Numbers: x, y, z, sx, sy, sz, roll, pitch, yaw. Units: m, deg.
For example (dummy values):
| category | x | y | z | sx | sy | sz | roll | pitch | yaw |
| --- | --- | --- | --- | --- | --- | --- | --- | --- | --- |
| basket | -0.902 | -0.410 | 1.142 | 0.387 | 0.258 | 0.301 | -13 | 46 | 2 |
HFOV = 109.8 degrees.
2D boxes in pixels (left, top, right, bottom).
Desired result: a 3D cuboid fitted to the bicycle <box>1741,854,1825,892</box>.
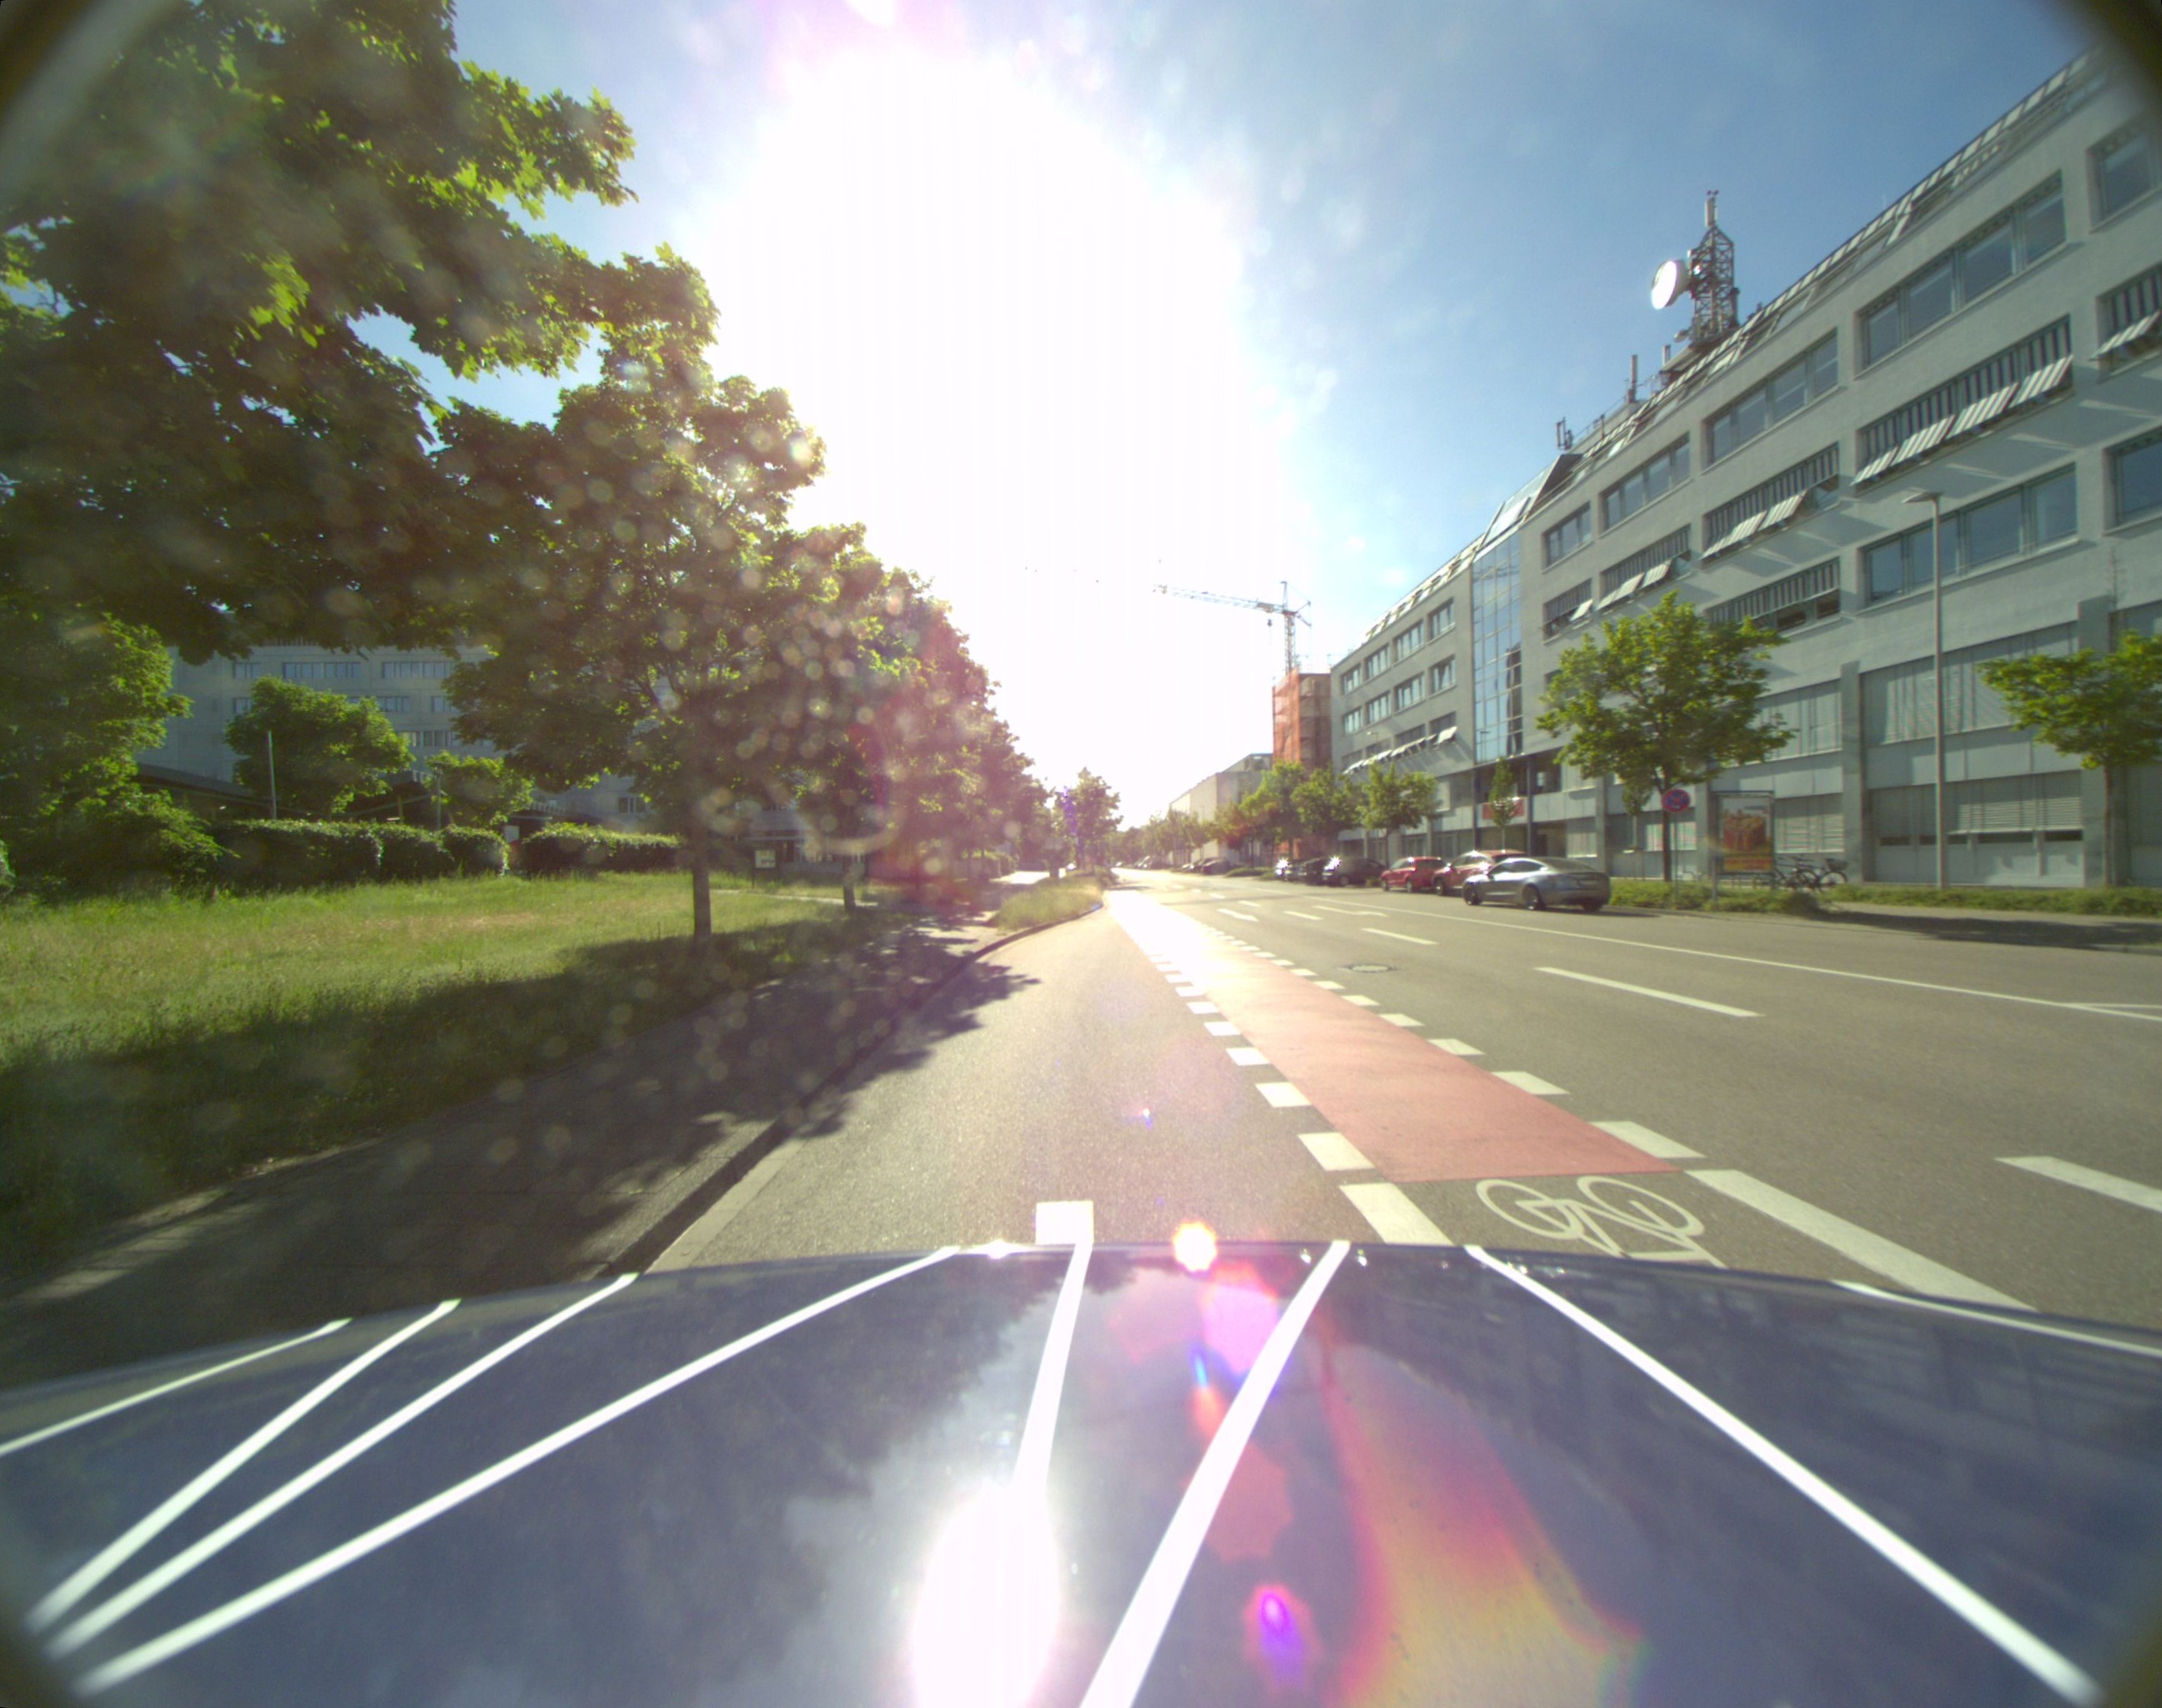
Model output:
| category | x | y | z | sx | sy | sz | roll | pitch | yaw |
| --- | --- | --- | --- | --- | --- | --- | --- | --- | --- |
| bicycle | 20.086 | 0.544 | 21.755 | 1.770 | 1.063 | 0.556 | 0 | 0 | 7 |

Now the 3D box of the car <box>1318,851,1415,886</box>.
| category | x | y | z | sx | sy | sz | roll | pitch | yaw |
| --- | --- | --- | --- | --- | --- | --- | --- | --- | --- |
| car | 14.953 | 0.731 | 39.861 | 4.398 | 1.529 | 1.693 | -3 | 0 | -5 |

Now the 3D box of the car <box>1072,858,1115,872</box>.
| category | x | y | z | sx | sy | sz | roll | pitch | yaw |
| --- | --- | --- | --- | --- | --- | --- | --- | --- | --- |
| car | 1.286 | 1.129 | 78.074 | 4.413 | 1.454 | 1.895 | 0 | 0 | 0 |

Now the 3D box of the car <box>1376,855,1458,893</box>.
| category | x | y | z | sx | sy | sz | roll | pitch | yaw |
| --- | --- | --- | --- | --- | --- | --- | --- | --- | --- |
| car | 14.182 | 0.794 | 32.335 | 1.692 | 1.423 | 3.871 | -3 | 0 | 0 |

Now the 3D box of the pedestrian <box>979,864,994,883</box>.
| category | x | y | z | sx | sy | sz | roll | pitch | yaw |
| --- | --- | --- | --- | --- | --- | --- | --- | --- | --- |
| pedestrian | -5.993 | 1.247 | 48.150 | 0.847 | 1.210 | 0.728 | 0 | 0 | -13 |

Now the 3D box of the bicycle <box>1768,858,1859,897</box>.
| category | x | y | z | sx | sy | sz | roll | pitch | yaw |
| --- | --- | --- | --- | --- | --- | --- | --- | --- | --- |
| bicycle | 20.220 | 0.636 | 20.990 | 1.792 | 1.063 | 0.622 | 0 | 0 | 7 |

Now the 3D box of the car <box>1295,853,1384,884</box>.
| category | x | y | z | sx | sy | sz | roll | pitch | yaw |
| --- | --- | --- | --- | --- | --- | --- | --- | --- | --- |
| car | 14.573 | 0.801 | 42.907 | 4.397 | 1.423 | 1.693 | -3 | 0 | -3 |

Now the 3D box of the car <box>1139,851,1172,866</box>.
| category | x | y | z | sx | sy | sz | roll | pitch | yaw |
| --- | --- | --- | --- | --- | --- | --- | --- | --- | --- |
| car | 13.563 | 0.763 | 138.625 | 5.583 | 2.468 | 2.010 | -3 | 0 | 2 |

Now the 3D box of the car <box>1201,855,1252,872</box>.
| category | x | y | z | sx | sy | sz | roll | pitch | yaw |
| --- | --- | --- | --- | --- | --- | --- | --- | --- | --- |
| car | 13.993 | 0.904 | 73.409 | 4.398 | 1.423 | 1.977 | -3 | 0 | -4 |

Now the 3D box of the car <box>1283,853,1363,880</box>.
| category | x | y | z | sx | sy | sz | roll | pitch | yaw |
| --- | --- | --- | --- | --- | --- | --- | --- | --- | --- |
| car | 15.015 | 0.748 | 47.263 | 4.397 | 1.423 | 1.693 | -3 | 0 | -3 |

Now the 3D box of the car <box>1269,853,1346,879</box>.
| category | x | y | z | sx | sy | sz | roll | pitch | yaw |
| --- | --- | --- | --- | --- | --- | --- | --- | --- | --- |
| car | 14.656 | 0.767 | 49.315 | 4.397 | 1.423 | 1.693 | -3 | 0 | -2 |

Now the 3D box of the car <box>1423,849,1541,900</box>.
| category | x | y | z | sx | sy | sz | roll | pitch | yaw |
| --- | --- | --- | --- | --- | --- | --- | --- | --- | --- |
| car | 14.332 | 0.705 | 27.462 | 1.693 | 1.597 | 4.309 | -3 | 0 | -4 |

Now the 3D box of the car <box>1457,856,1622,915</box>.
| category | x | y | z | sx | sy | sz | roll | pitch | yaw |
| --- | --- | --- | --- | --- | --- | --- | --- | --- | --- |
| car | 12.682 | 0.804 | 21.417 | 1.693 | 1.459 | 4.546 | 0 | 0 | -4 |
